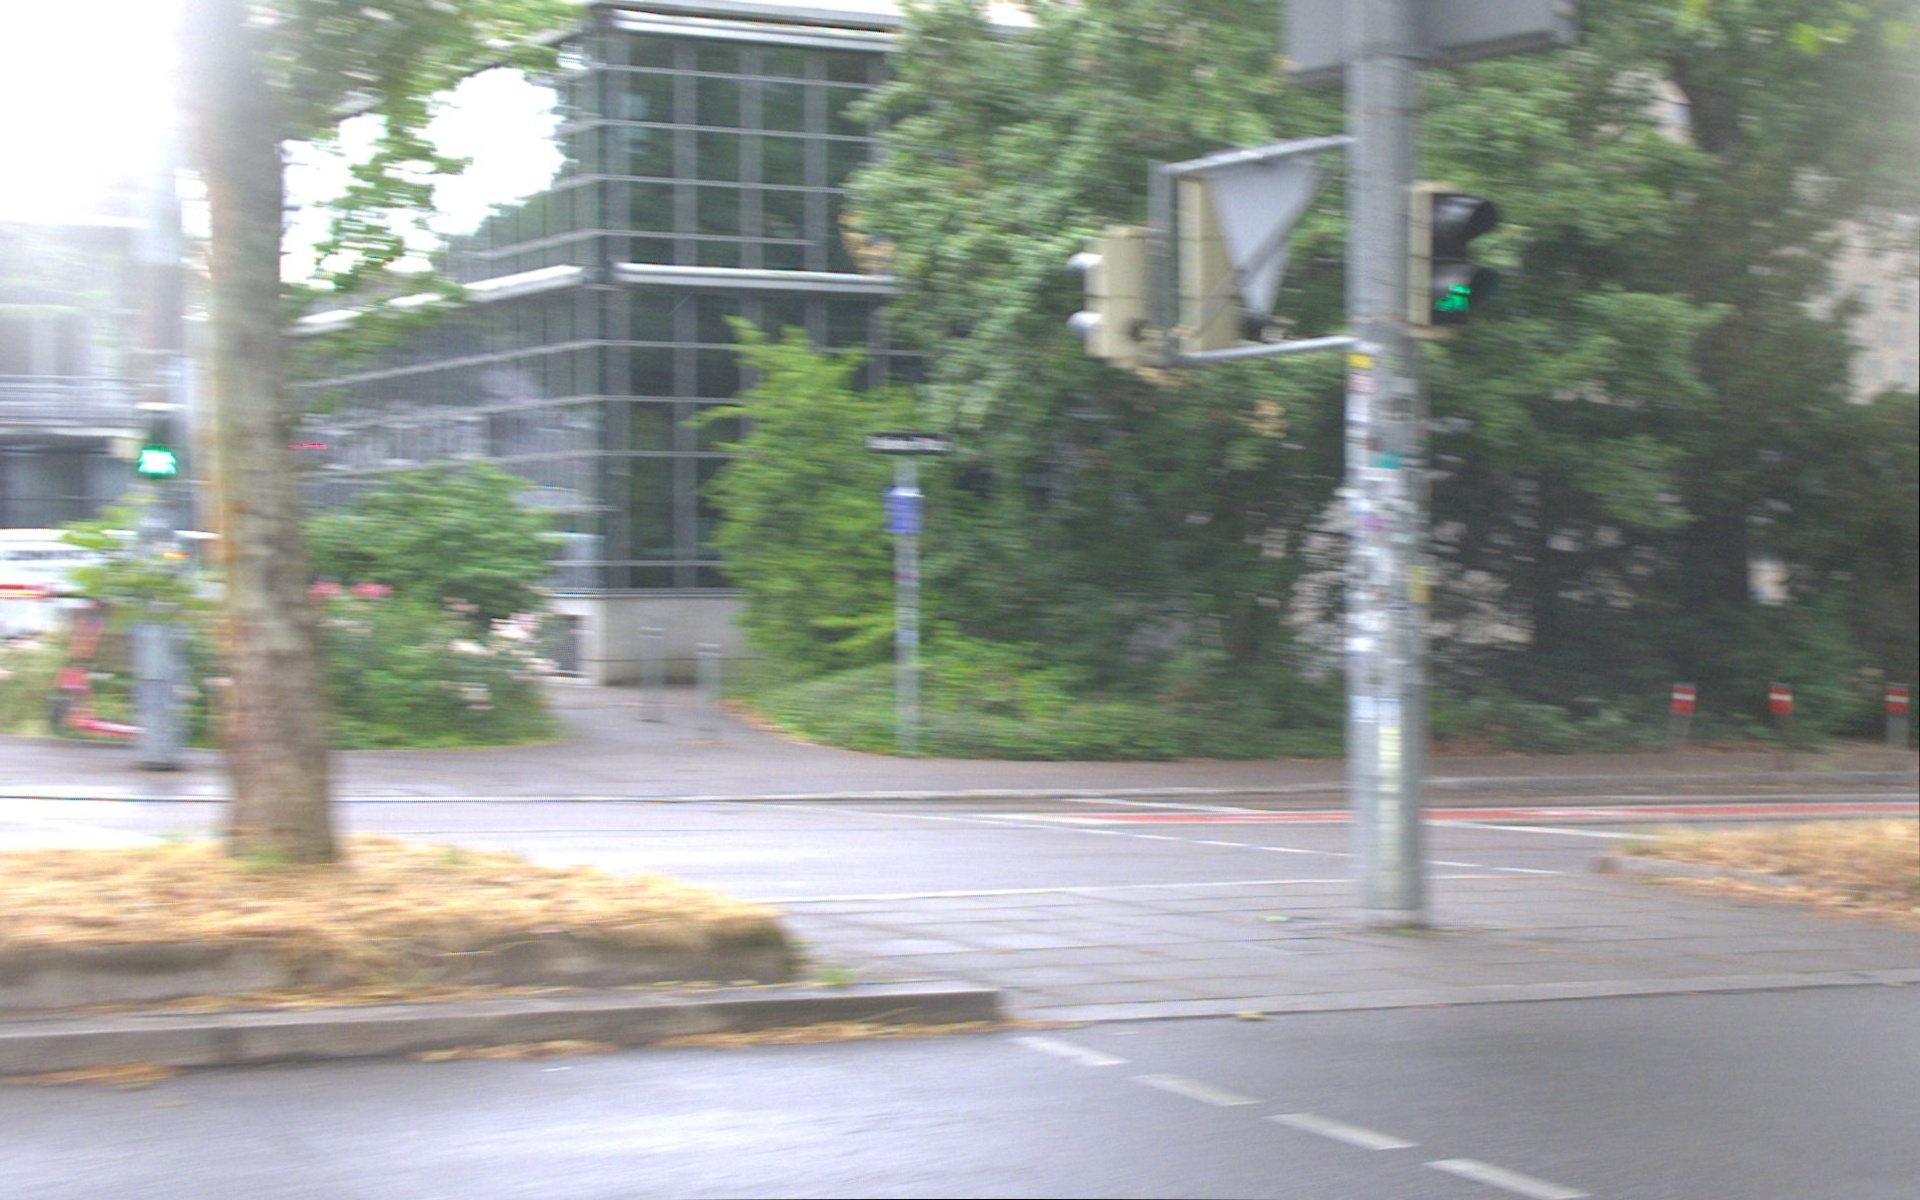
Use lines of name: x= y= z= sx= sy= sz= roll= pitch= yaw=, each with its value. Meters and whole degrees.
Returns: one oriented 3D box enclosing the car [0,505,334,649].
car: x=-10.752 y=-0.322 z=44.095 sx=5.203 sy=1.725 sz=1.873 roll=-1 pitch=3 yaw=-45
